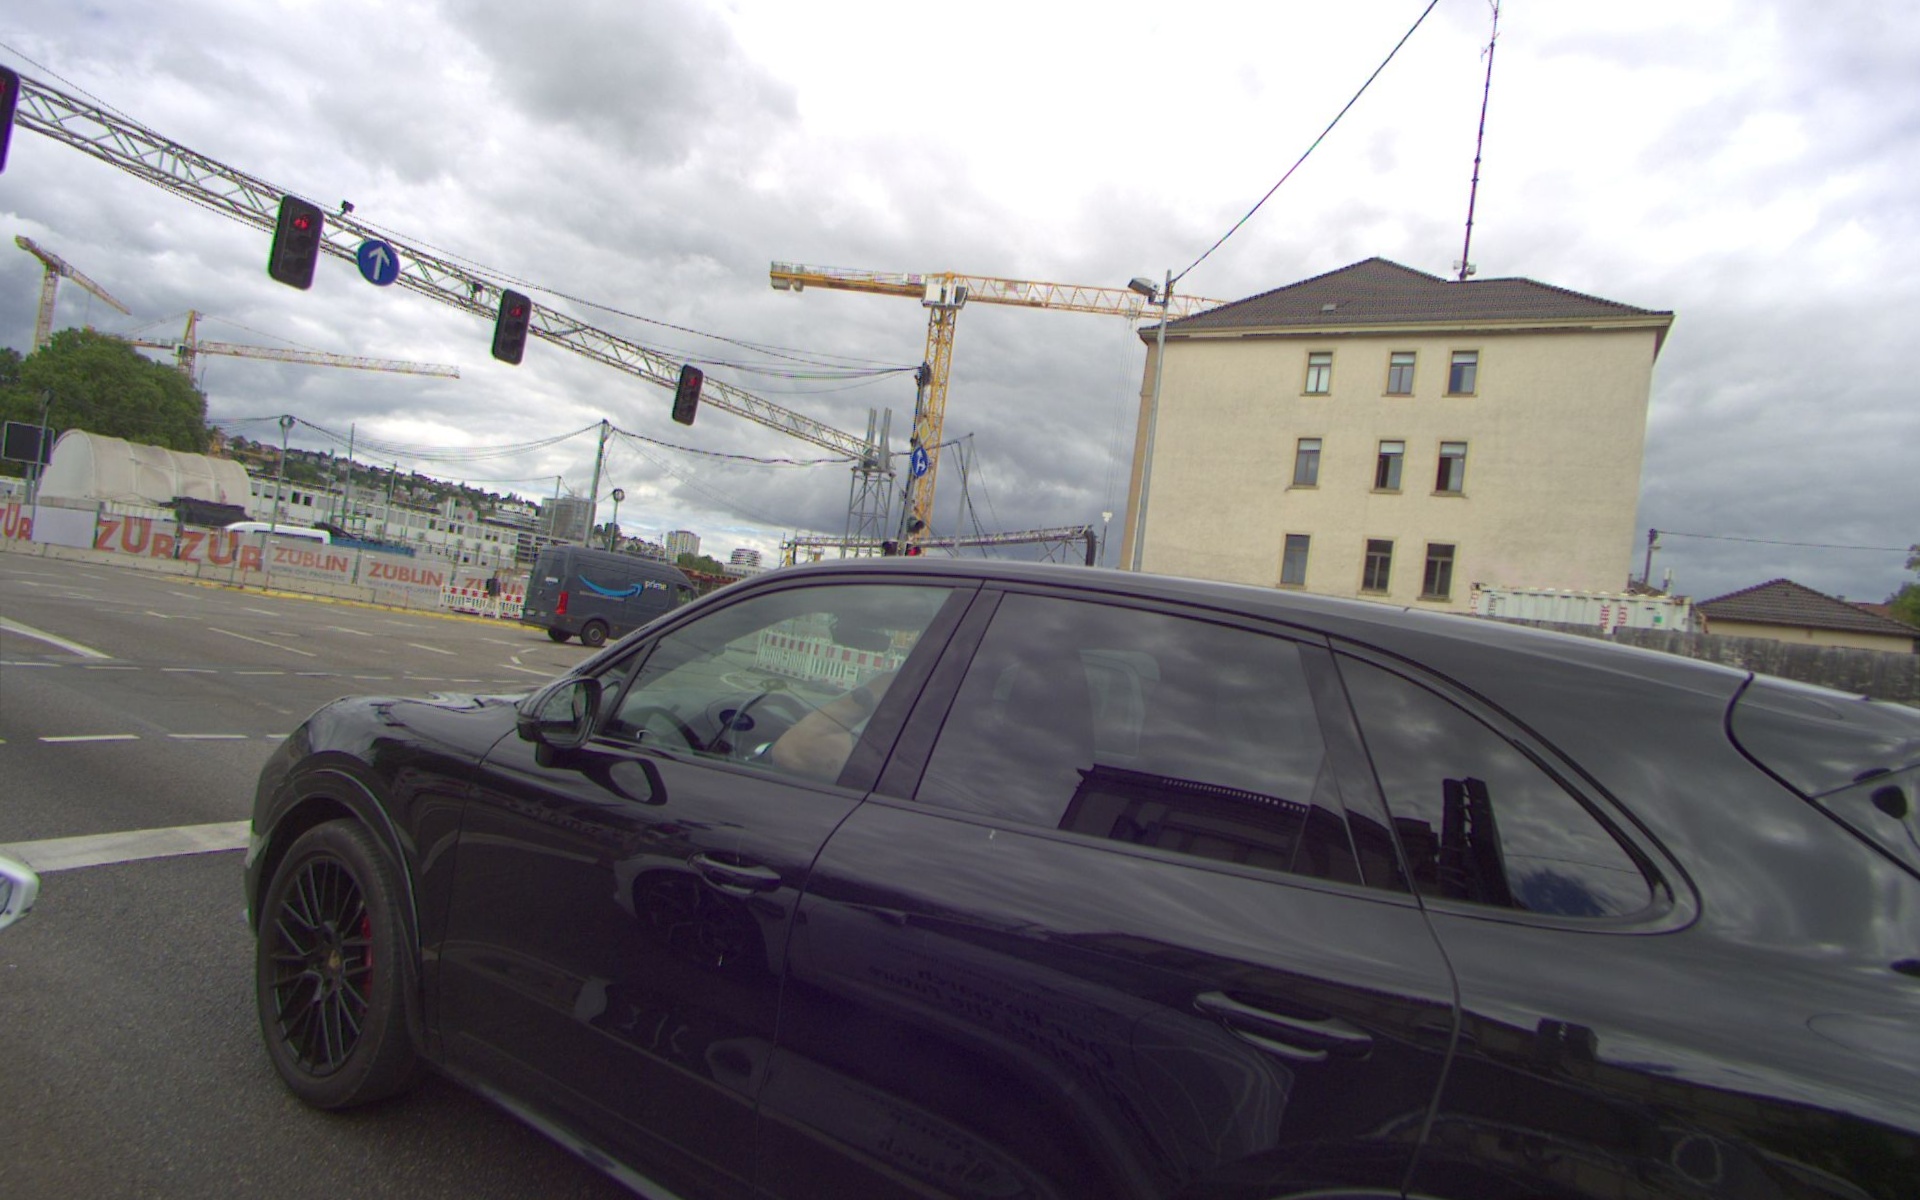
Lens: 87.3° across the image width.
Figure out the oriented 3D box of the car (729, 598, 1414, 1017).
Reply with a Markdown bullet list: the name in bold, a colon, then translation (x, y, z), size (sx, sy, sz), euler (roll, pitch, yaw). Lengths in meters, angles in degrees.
- **car**: translation (0.597, 1.046, 6.366), size (3.818, 1.561, 1.667), euler (7, -2, 33)

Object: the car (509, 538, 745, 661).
- **car**: translation (-9.322, 0.094, 28.730), size (2.034, 2.623, 5.995), euler (7, -3, 39)

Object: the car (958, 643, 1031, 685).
- **car**: translation (1.812, 3.278, 51.108), size (1.770, 1.687, 4.062), euler (7, -3, 31)

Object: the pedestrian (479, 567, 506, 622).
- **pedestrian**: translation (-18.182, -0.218, 39.141), size (0.647, 2.037, 0.513), euler (8, -1, -33)

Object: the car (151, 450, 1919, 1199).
- **car**: translation (0.041, 0.717, 2.690), size (4.559, 1.705, 1.959), euler (7, -2, 33)

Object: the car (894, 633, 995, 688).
- **car**: translation (-0.579, 2.553, 41.812), size (1.854, 1.755, 4.438), euler (7, -3, 34)

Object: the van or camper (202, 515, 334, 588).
- **van or camper**: translation (-29.806, -2.065, 43.406), size (4.204, 2.384, 1.976), euler (10, -3, -44)

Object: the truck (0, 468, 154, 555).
- **truck**: translation (-57.894, -5.784, 61.926), size (3.875, 4.086, 13.089), euler (8, -2, 12)

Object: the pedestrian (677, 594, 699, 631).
- **pedestrian**: translation (-14.171, 0.633, 52.365), size (0.607, 1.816, 0.654), euler (7, -1, 23)
